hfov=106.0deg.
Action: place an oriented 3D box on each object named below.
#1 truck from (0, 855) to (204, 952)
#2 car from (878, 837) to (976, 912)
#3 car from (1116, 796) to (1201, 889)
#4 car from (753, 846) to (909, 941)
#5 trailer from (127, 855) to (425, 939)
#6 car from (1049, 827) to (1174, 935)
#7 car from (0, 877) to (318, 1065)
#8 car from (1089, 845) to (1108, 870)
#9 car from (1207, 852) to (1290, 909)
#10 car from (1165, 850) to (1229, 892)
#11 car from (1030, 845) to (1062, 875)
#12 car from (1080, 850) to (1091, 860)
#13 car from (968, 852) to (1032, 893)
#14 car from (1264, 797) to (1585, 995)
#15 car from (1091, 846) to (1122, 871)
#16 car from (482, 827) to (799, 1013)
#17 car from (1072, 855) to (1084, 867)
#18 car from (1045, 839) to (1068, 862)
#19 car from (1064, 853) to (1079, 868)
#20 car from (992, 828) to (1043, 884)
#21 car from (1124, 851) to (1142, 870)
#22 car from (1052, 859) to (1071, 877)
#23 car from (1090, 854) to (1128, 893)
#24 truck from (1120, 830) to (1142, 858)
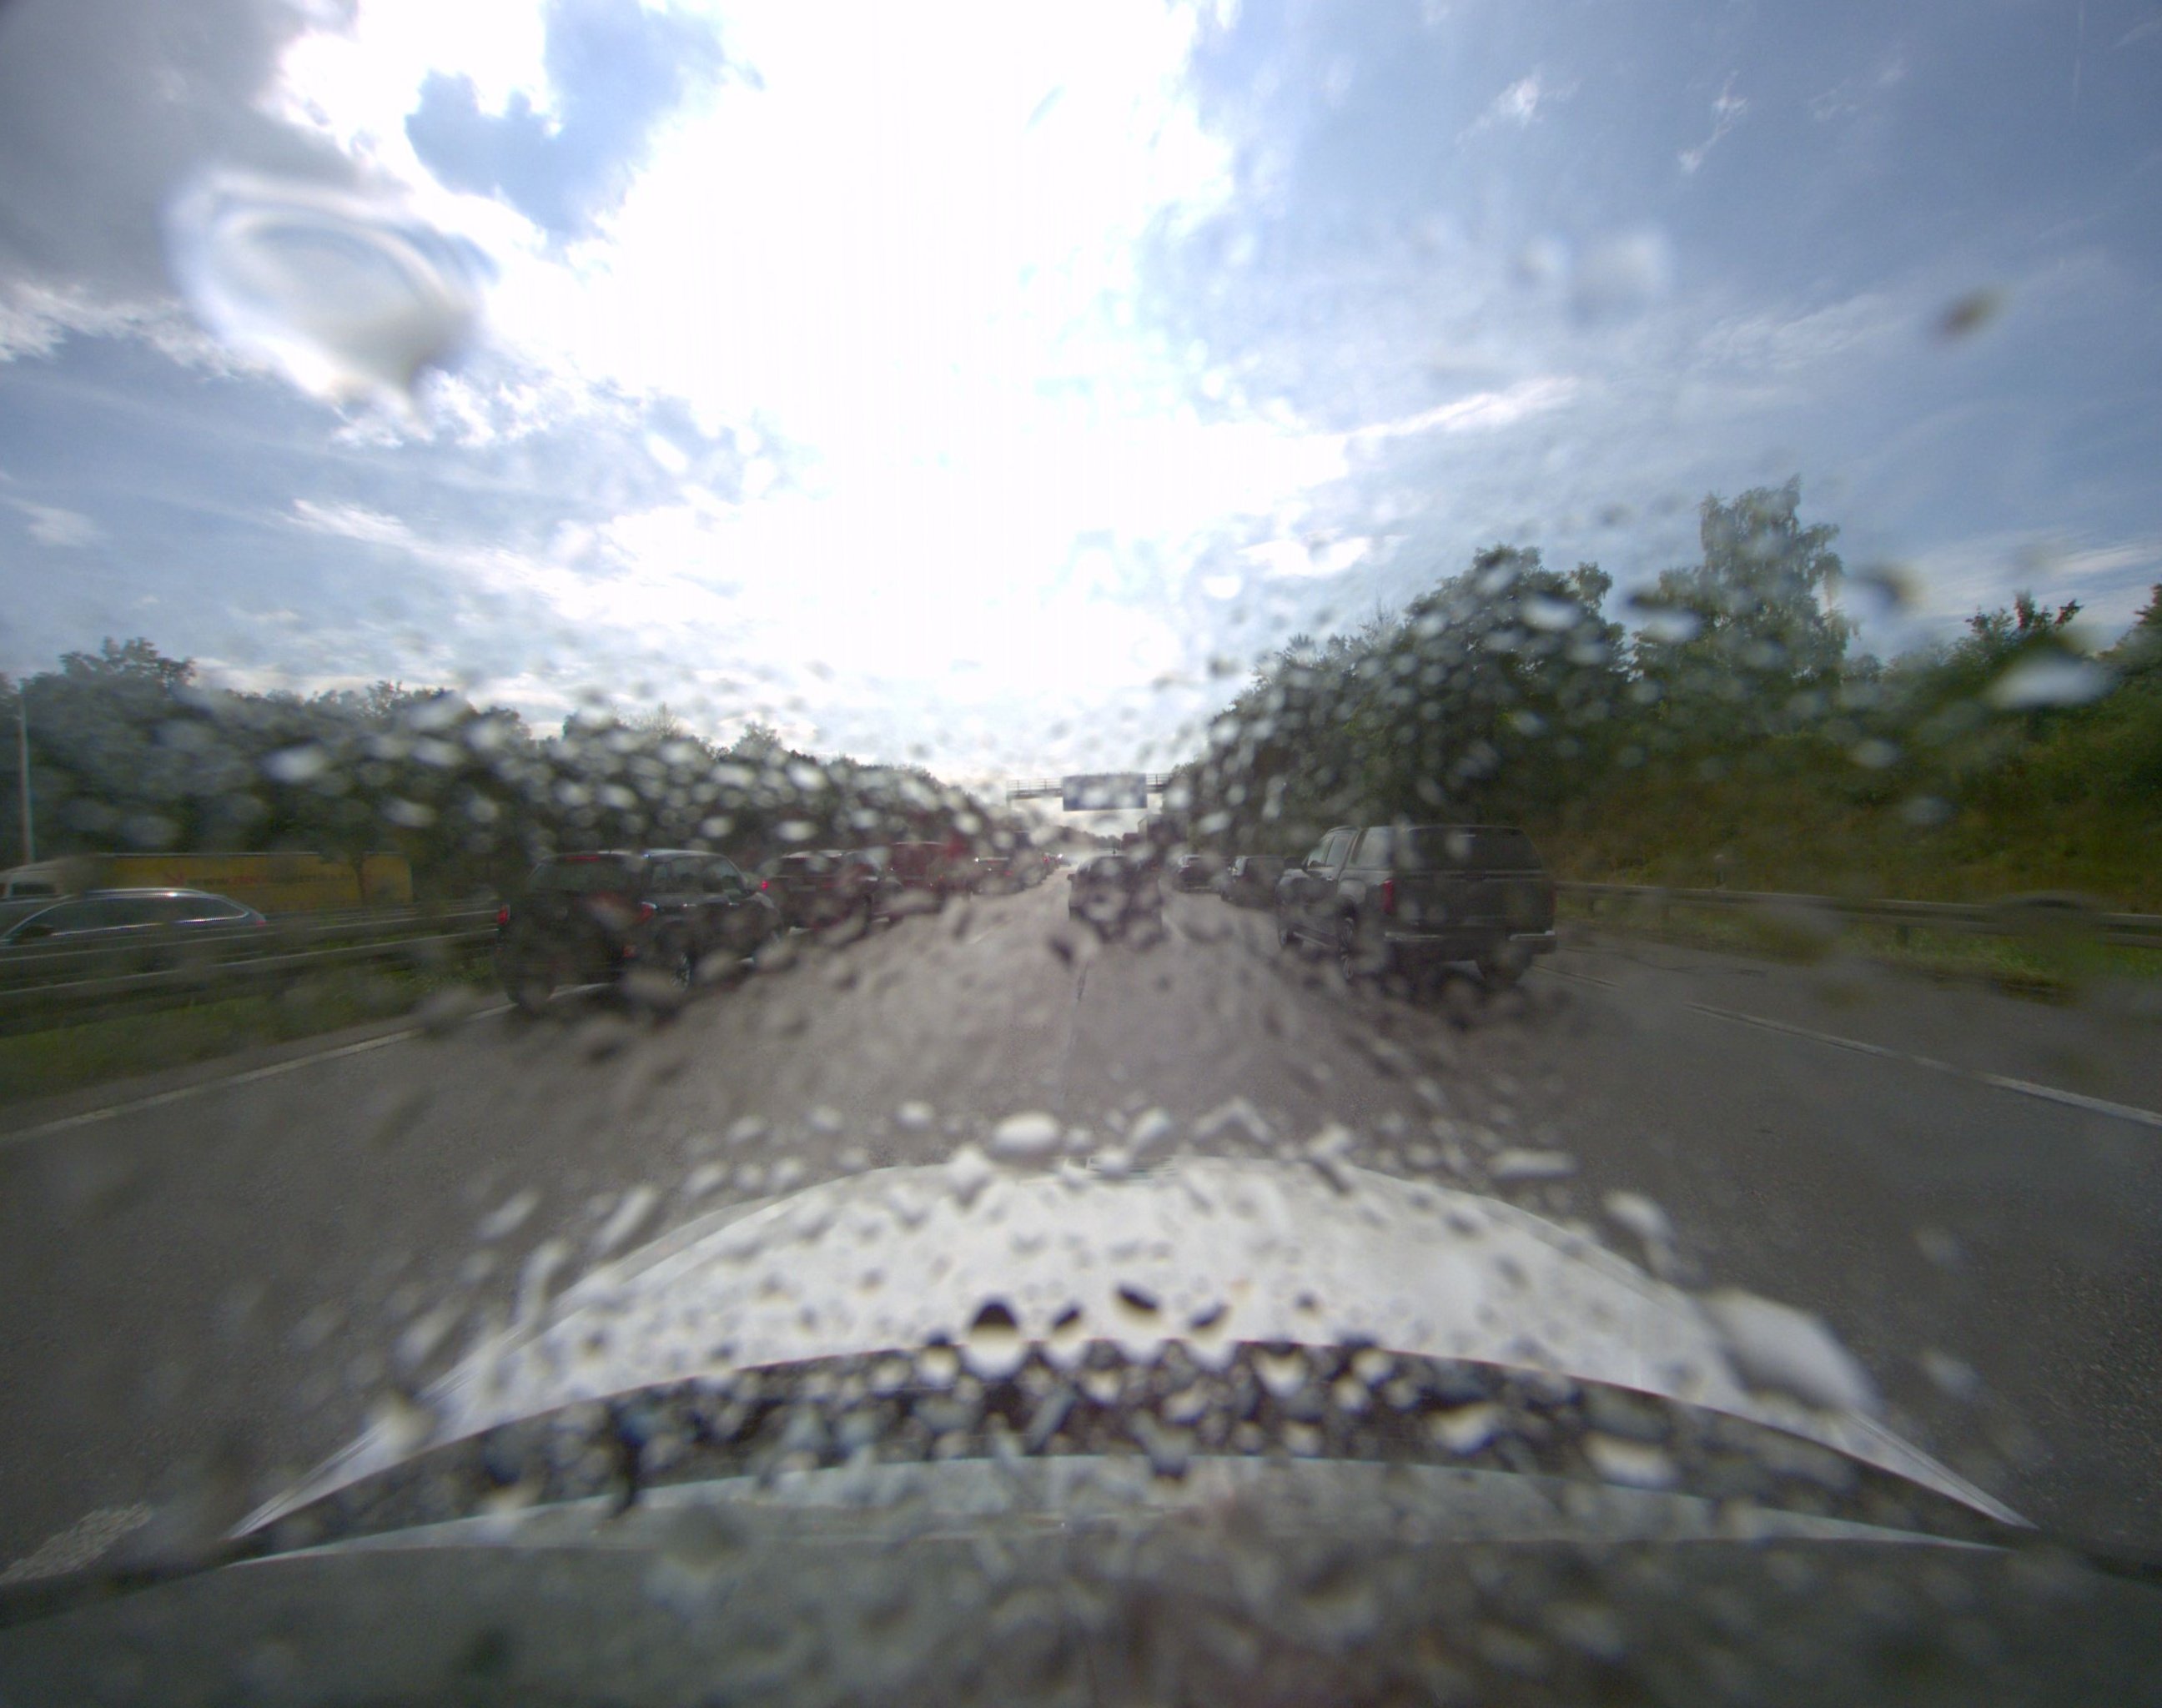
[{"bbox_3d":[-47.028,2.142,38.170,3.760,4.117,7.073,-1,-1,15],"label":"truck"},{"bbox_3d":[-4.605,0.593,25.041,1.971,2.054,4.757,-1,0,1],"label":"car"},{"bbox_3d":[5.274,-0.672,59.921,4.391,5.830,16.811,-1,0,-1],"label":"car"},{"bbox_3d":[-5.000,0.724,17.011,1.904,1.636,4.613,-2,0,-2],"label":"car"},{"bbox_3d":[-44.853,2.181,46.353,3.760,4.117,11.771,-1,0,15],"label":"trailer"},{"bbox_3d":[0.558,0.508,17.237,2.267,1.954,4.820,-1,0,0],"label":"car"},{"bbox_3d":[-13.225,1.379,10.378,2.044,2.046,5.210,-1,0,1],"label":"car"},{"bbox_3d":[1.999,0.439,92.189,1.986,2.746,5.262,-1,-1,2],"label":"car"},{"bbox_3d":[4.814,0.715,23.886,1.586,1.516,3.975,-1,0,0],"label":"car"},{"bbox_3d":[4.473,0.625,31.916,1.859,1.516,3.974,-1,0,-1],"label":"car"},{"bbox_3d":[-2.613,0.457,61.611,1.986,2.115,4.891,-1,0,2],"label":"car"},{"bbox_3d":[0.979,0.191,168.937,1.986,2.115,4.891,-1,0,2],"label":"car"},{"bbox_3d":[-3.283,0.750,33.820,1.986,1.564,4.758,-1,0,2],"label":"car"},{"bbox_3d":[4.005,0.429,10.816,1.935,1.919,5.652,-1,0,1],"label":"car"},{"bbox_3d":[1.605,0.284,53.027,1.859,1.516,3.974,-1,0,-1],"label":"car"},{"bbox_3d":[-5.016,0.665,9.986,1.687,1.805,3.976,-1,0,0],"label":"car"},{"bbox_3d":[-0.547,1.194,144.037,1.986,2.115,4.891,-1,0,2],"label":"car"},{"bbox_3d":[-2.549,-0.314,86.271,1.986,2.385,5.262,-1,0,2],"label":"car"},{"bbox_3d":[-1.351,0.916,118.327,1.986,2.115,4.891,-1,0,2],"label":"car"},{"bbox_3d":[-3.149,0.111,41.493,1.986,2.615,5.262,-1,-1,2],"label":"car"},{"bbox_3d":[6.112,0.795,96.437,1.986,2.115,4.891,-1,0,2],"label":"car"},{"bbox_3d":[-2.330,1.683,100.017,1.986,2.115,4.891,-1,0,2],"label":"car"},{"bbox_3d":[1.335,0.925,40.128,1.687,1.805,3.975,-1,0,0],"label":"car"},{"bbox_3d":[6.710,-1.334,109.599,2.765,3.631,5.919,-1,-1,2],"label":"truck"}]
